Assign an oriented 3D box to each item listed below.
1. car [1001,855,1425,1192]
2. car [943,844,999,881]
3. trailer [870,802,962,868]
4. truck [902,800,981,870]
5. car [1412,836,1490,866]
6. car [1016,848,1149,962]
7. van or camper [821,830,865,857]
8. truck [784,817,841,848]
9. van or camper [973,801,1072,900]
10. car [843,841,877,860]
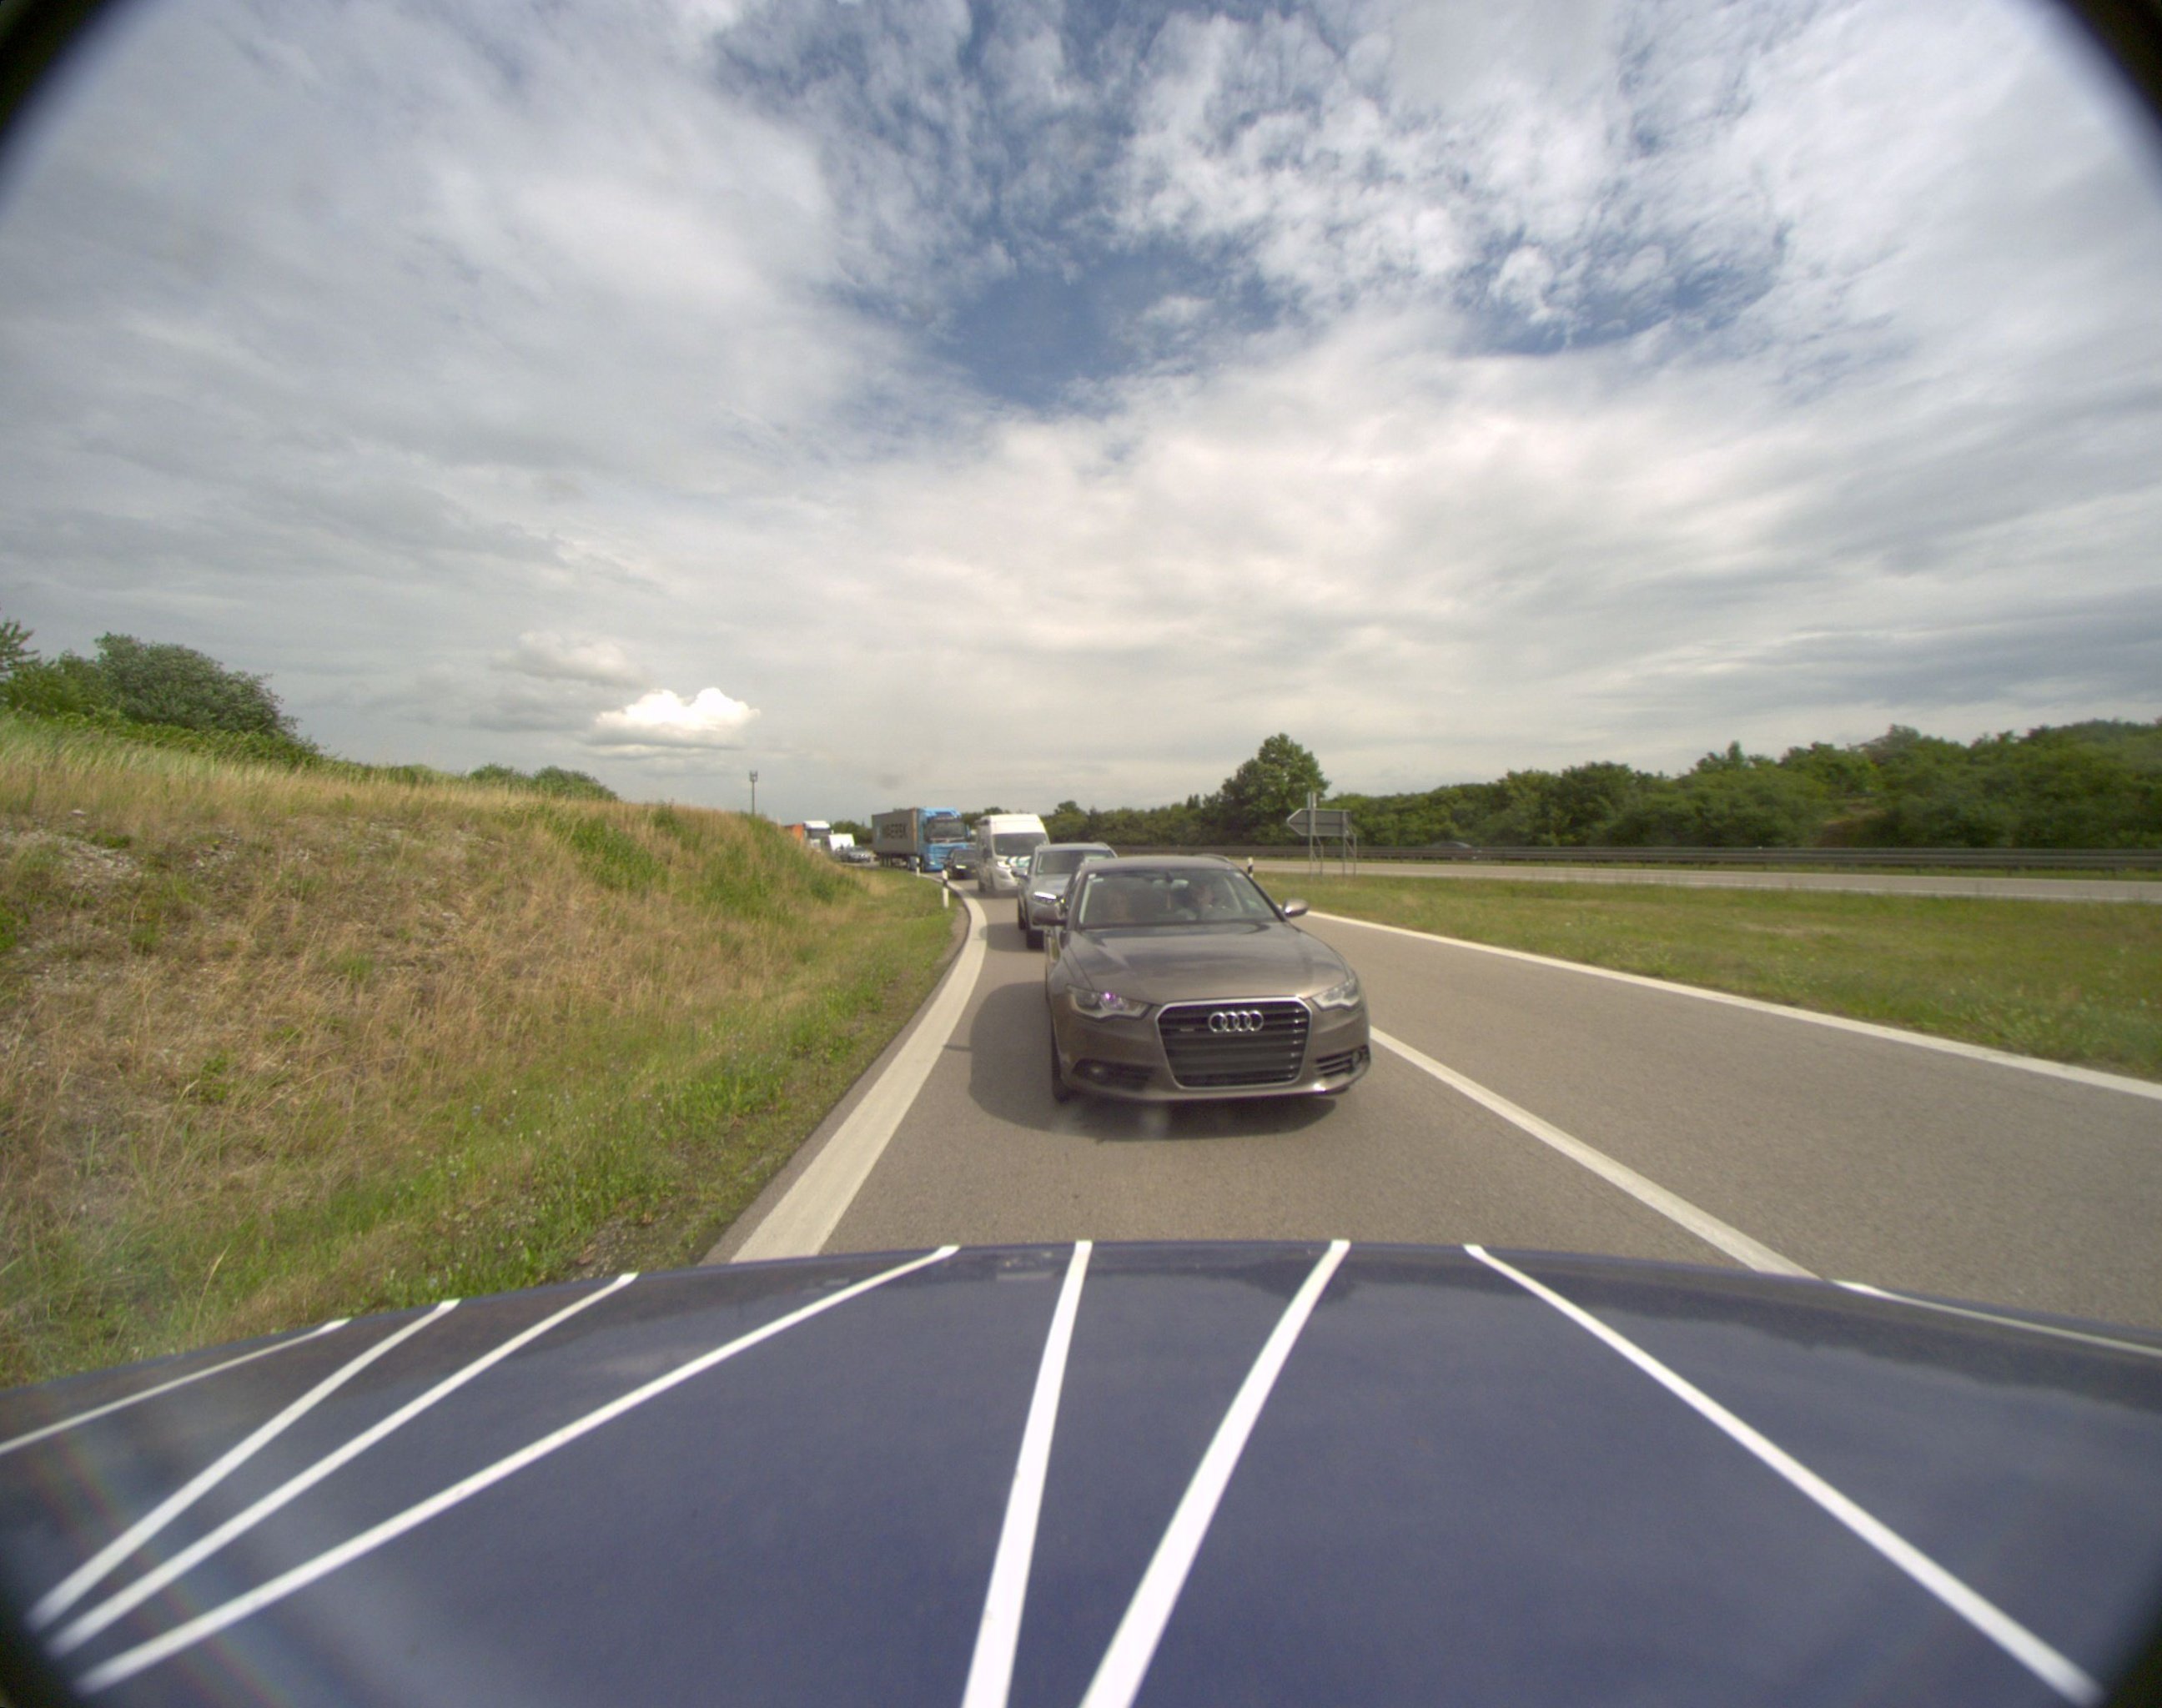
[{"bbox_3d":[0.618,0.816,5.913,1.999,1.505,4.537,-2,1,-1],"label":"car"},{"bbox_3d":[-5.424,0.358,37.026,2.002,1.609,3.992,-1,2,-19],"label":"car"},{"bbox_3d":[-11.960,-1.227,53.906,3.280,4.137,11.990,-3,1,-27],"label":"trailer"},{"bbox_3d":[-8.943,-1.167,48.021,3.184,4.050,6.632,-3,1,-25],"label":"truck"},{"bbox_3d":[24.211,-0.167,49.814,1.847,1.862,4.196,-3,1,-34],"label":"car"},{"bbox_3d":[-0.145,0.715,13.039,1.843,1.587,4.170,-1,1,-6],"label":"car"},{"bbox_3d":[-22.480,-1.016,71.651,2.557,2.200,5.693,-3,5,-31],"label":"van or camper"},{"bbox_3d":[-29.908,-2.305,84.172,3.131,3.220,11.131,-2,2,-34],"label":"truck"},{"bbox_3d":[-2.135,-0.126,25.674,2.400,2.892,5.713,-2,1,-13],"label":"van or camper"},{"bbox_3d":[-19.352,-0.308,66.486,2.003,1.521,3.990,-2,3,-29],"label":"car"}]
